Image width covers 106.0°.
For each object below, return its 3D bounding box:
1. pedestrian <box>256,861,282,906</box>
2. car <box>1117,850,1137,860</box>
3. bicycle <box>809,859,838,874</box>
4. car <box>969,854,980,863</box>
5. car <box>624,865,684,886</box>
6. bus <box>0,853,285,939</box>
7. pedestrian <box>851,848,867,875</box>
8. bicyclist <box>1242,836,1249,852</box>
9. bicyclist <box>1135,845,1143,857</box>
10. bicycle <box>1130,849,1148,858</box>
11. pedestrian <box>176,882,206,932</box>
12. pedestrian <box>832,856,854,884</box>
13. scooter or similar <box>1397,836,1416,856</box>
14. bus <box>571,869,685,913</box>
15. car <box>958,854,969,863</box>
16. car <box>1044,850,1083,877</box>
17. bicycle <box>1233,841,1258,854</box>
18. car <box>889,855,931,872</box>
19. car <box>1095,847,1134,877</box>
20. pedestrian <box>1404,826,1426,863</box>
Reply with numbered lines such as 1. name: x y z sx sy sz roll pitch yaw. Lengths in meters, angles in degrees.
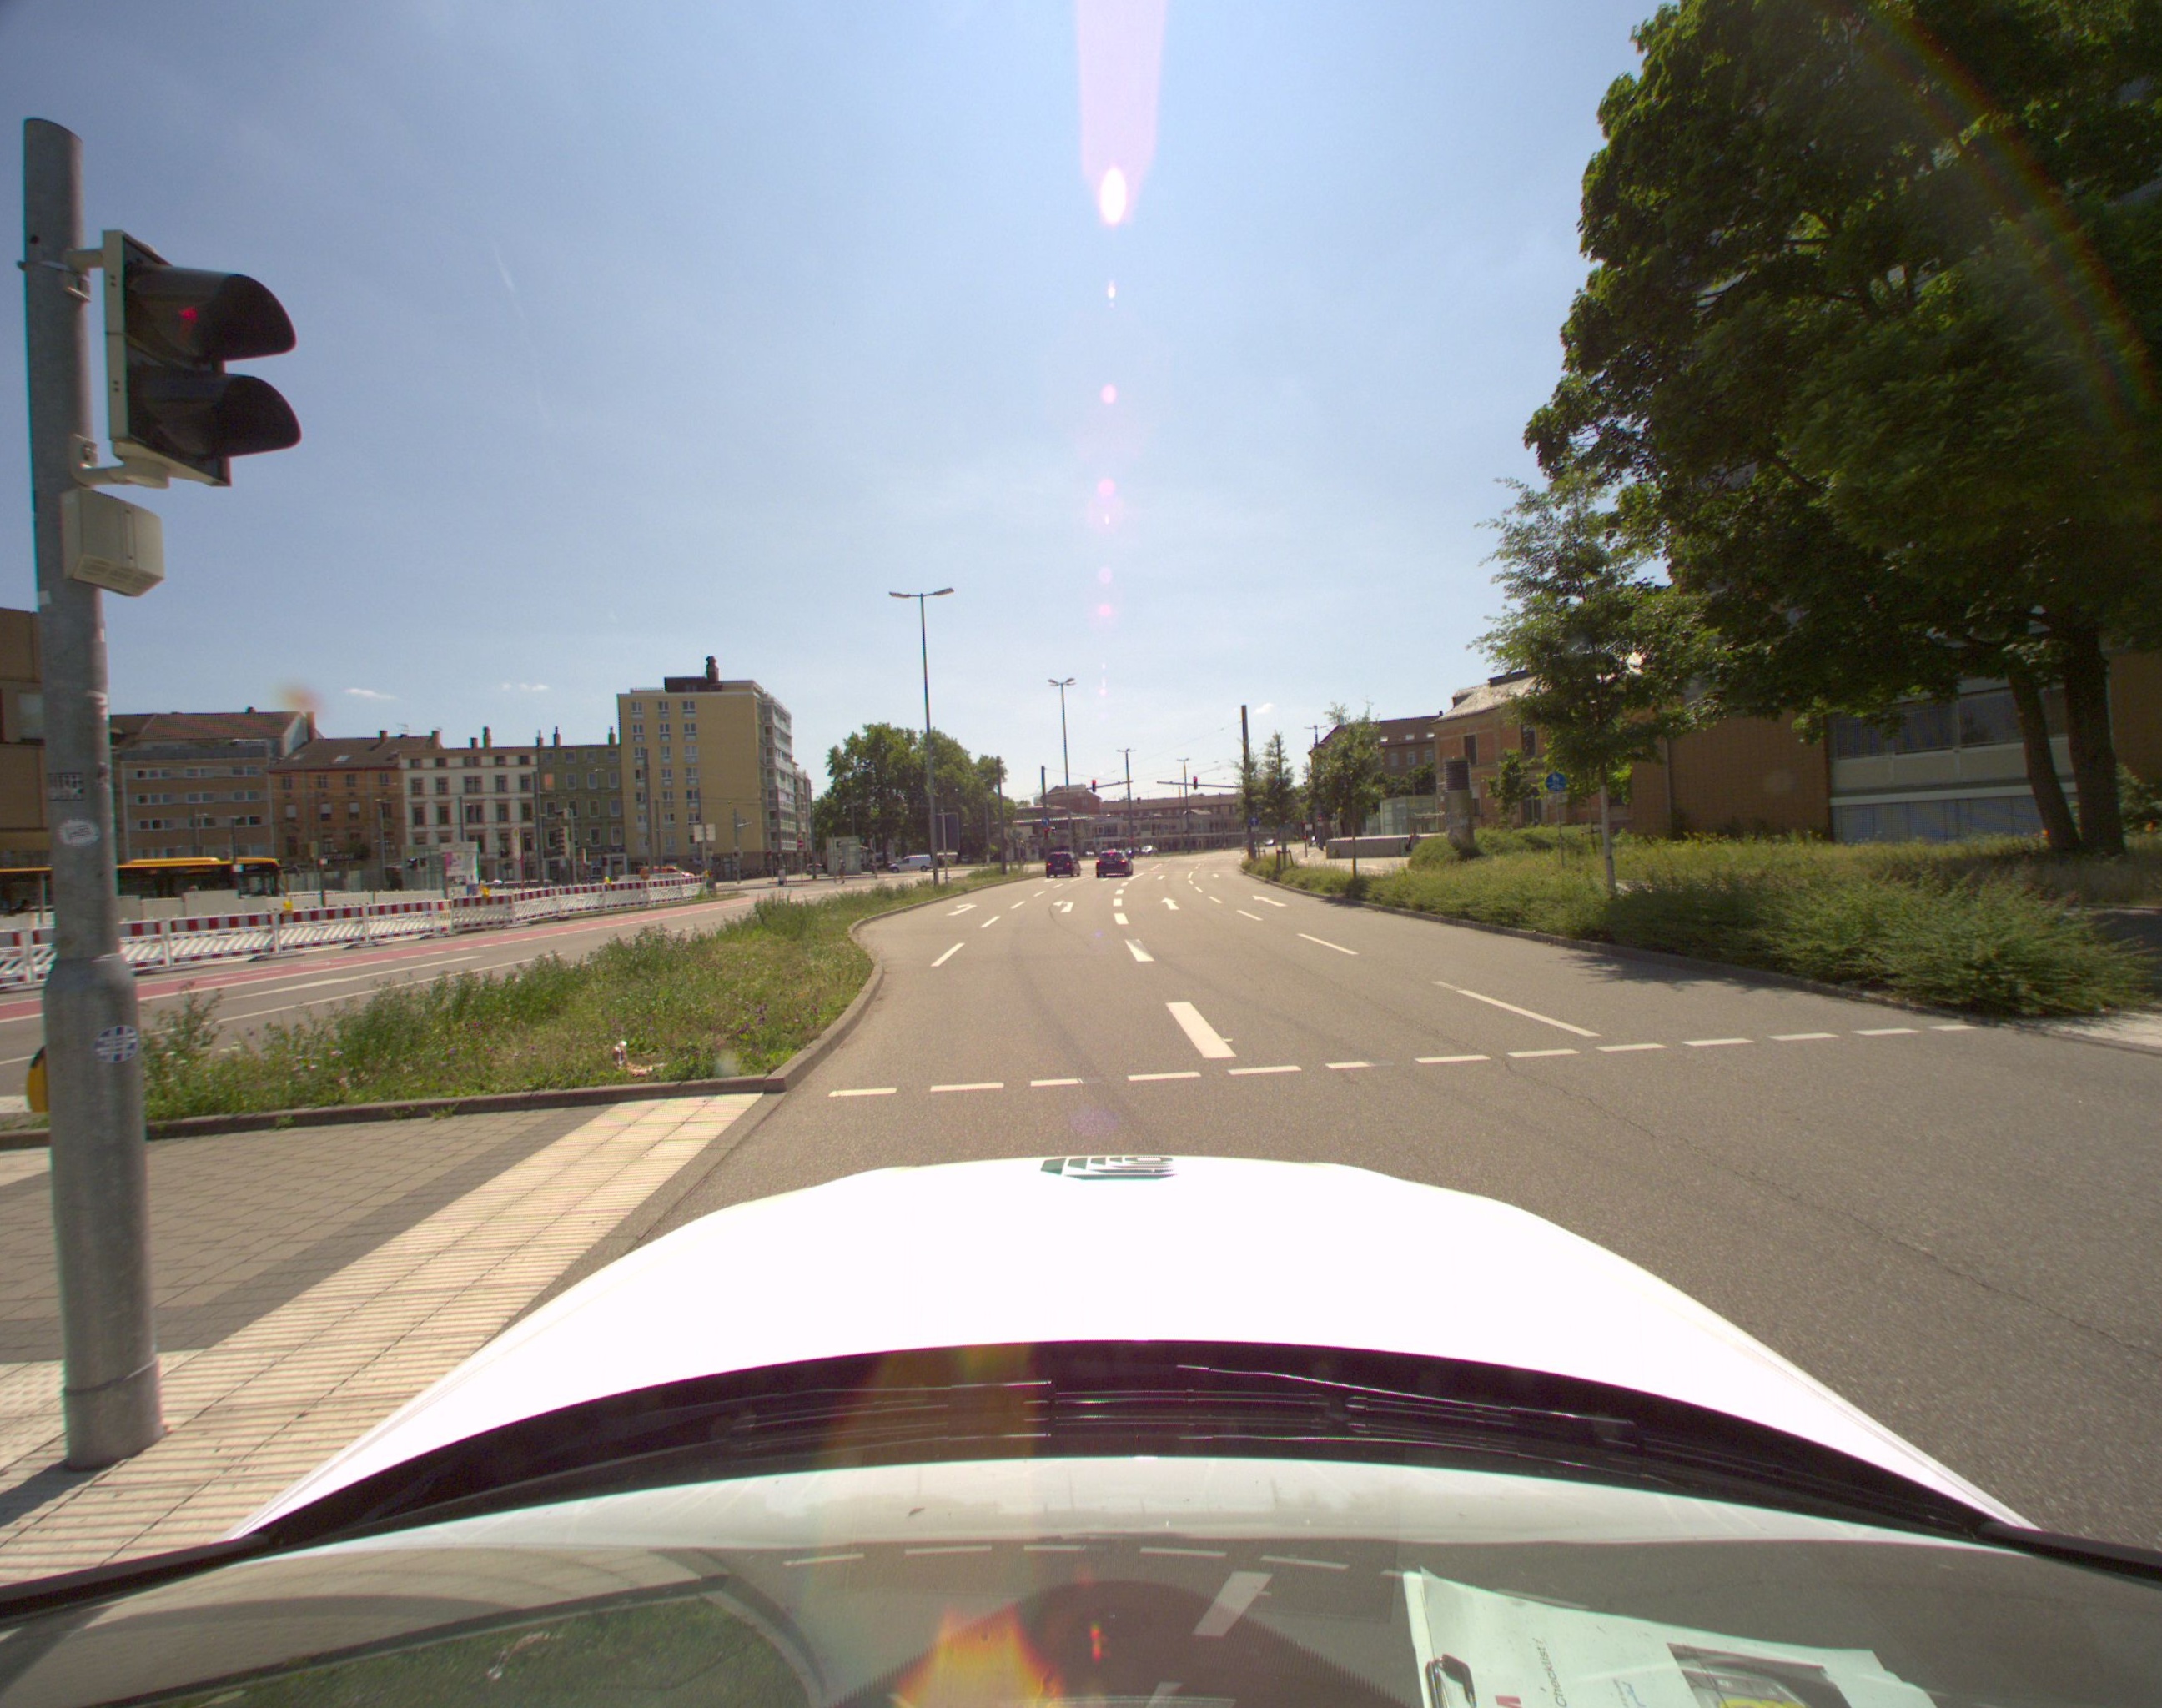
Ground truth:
1. pedestrian: -37.653 1.350 37.759 0.603 1.995 0.668 -1 3 39
2. car: 6.602 0.133 117.132 1.524 1.277 3.560 -1 3 26
3. bicycle: -33.163 1.576 104.871 3.340 1.595 0.809 -5 3 -38
4. car: -19.912 0.905 152.222 1.503 1.418 3.424 -2 2 3
5. car: -40.124 2.020 76.604 4.618 1.613 1.672 -3 2 -7
6. bus: -41.710 1.738 33.449 3.690 3.041 12.333 -3 0 35
7. pedestrian: -25.084 0.833 92.218 1.208 2.937 1.338 -2 2 5
8. bicyclist: 20.097 -1.193 99.711 0.759 1.937 0.661 -2 2 7
9. bicyclist: 7.431 -0.372 104.392 0.732 1.479 0.654 -3 2 -10
10. bicycle: 7.462 -0.064 104.401 2.160 1.107 0.455 -3 2 -10
11. pedestrian: -37.355 2.199 34.180 0.667 1.995 0.604 -4 3 -42
12. pedestrian: -16.985 1.123 58.037 1.174 1.933 0.903 -2 2 2
13. scooter or similar: 19.785 -0.512 49.524 0.397 1.167 1.284 -3 2 -13
14. bus: -18.482 1.440 33.593 1.239 1.249 5.824 -2 2 2
15. car: -22.026 0.904 153.039 1.419 1.508 3.441 -2 2 3
16. car: -1.017 0.559 48.606 1.612 1.463 4.010 -2 0 9
17. bicycle: 20.142 -0.825 99.731 2.811 1.463 0.635 -2 2 6
18. car: -18.649 1.014 88.982 4.309 1.626 1.808 -3 2 -12
19. car: 1.991 0.406 47.194 1.707 1.556 4.598 -3 0 8
20. pedestrian: 15.620 -0.435 38.094 0.727 1.705 0.813 -2 1 10
